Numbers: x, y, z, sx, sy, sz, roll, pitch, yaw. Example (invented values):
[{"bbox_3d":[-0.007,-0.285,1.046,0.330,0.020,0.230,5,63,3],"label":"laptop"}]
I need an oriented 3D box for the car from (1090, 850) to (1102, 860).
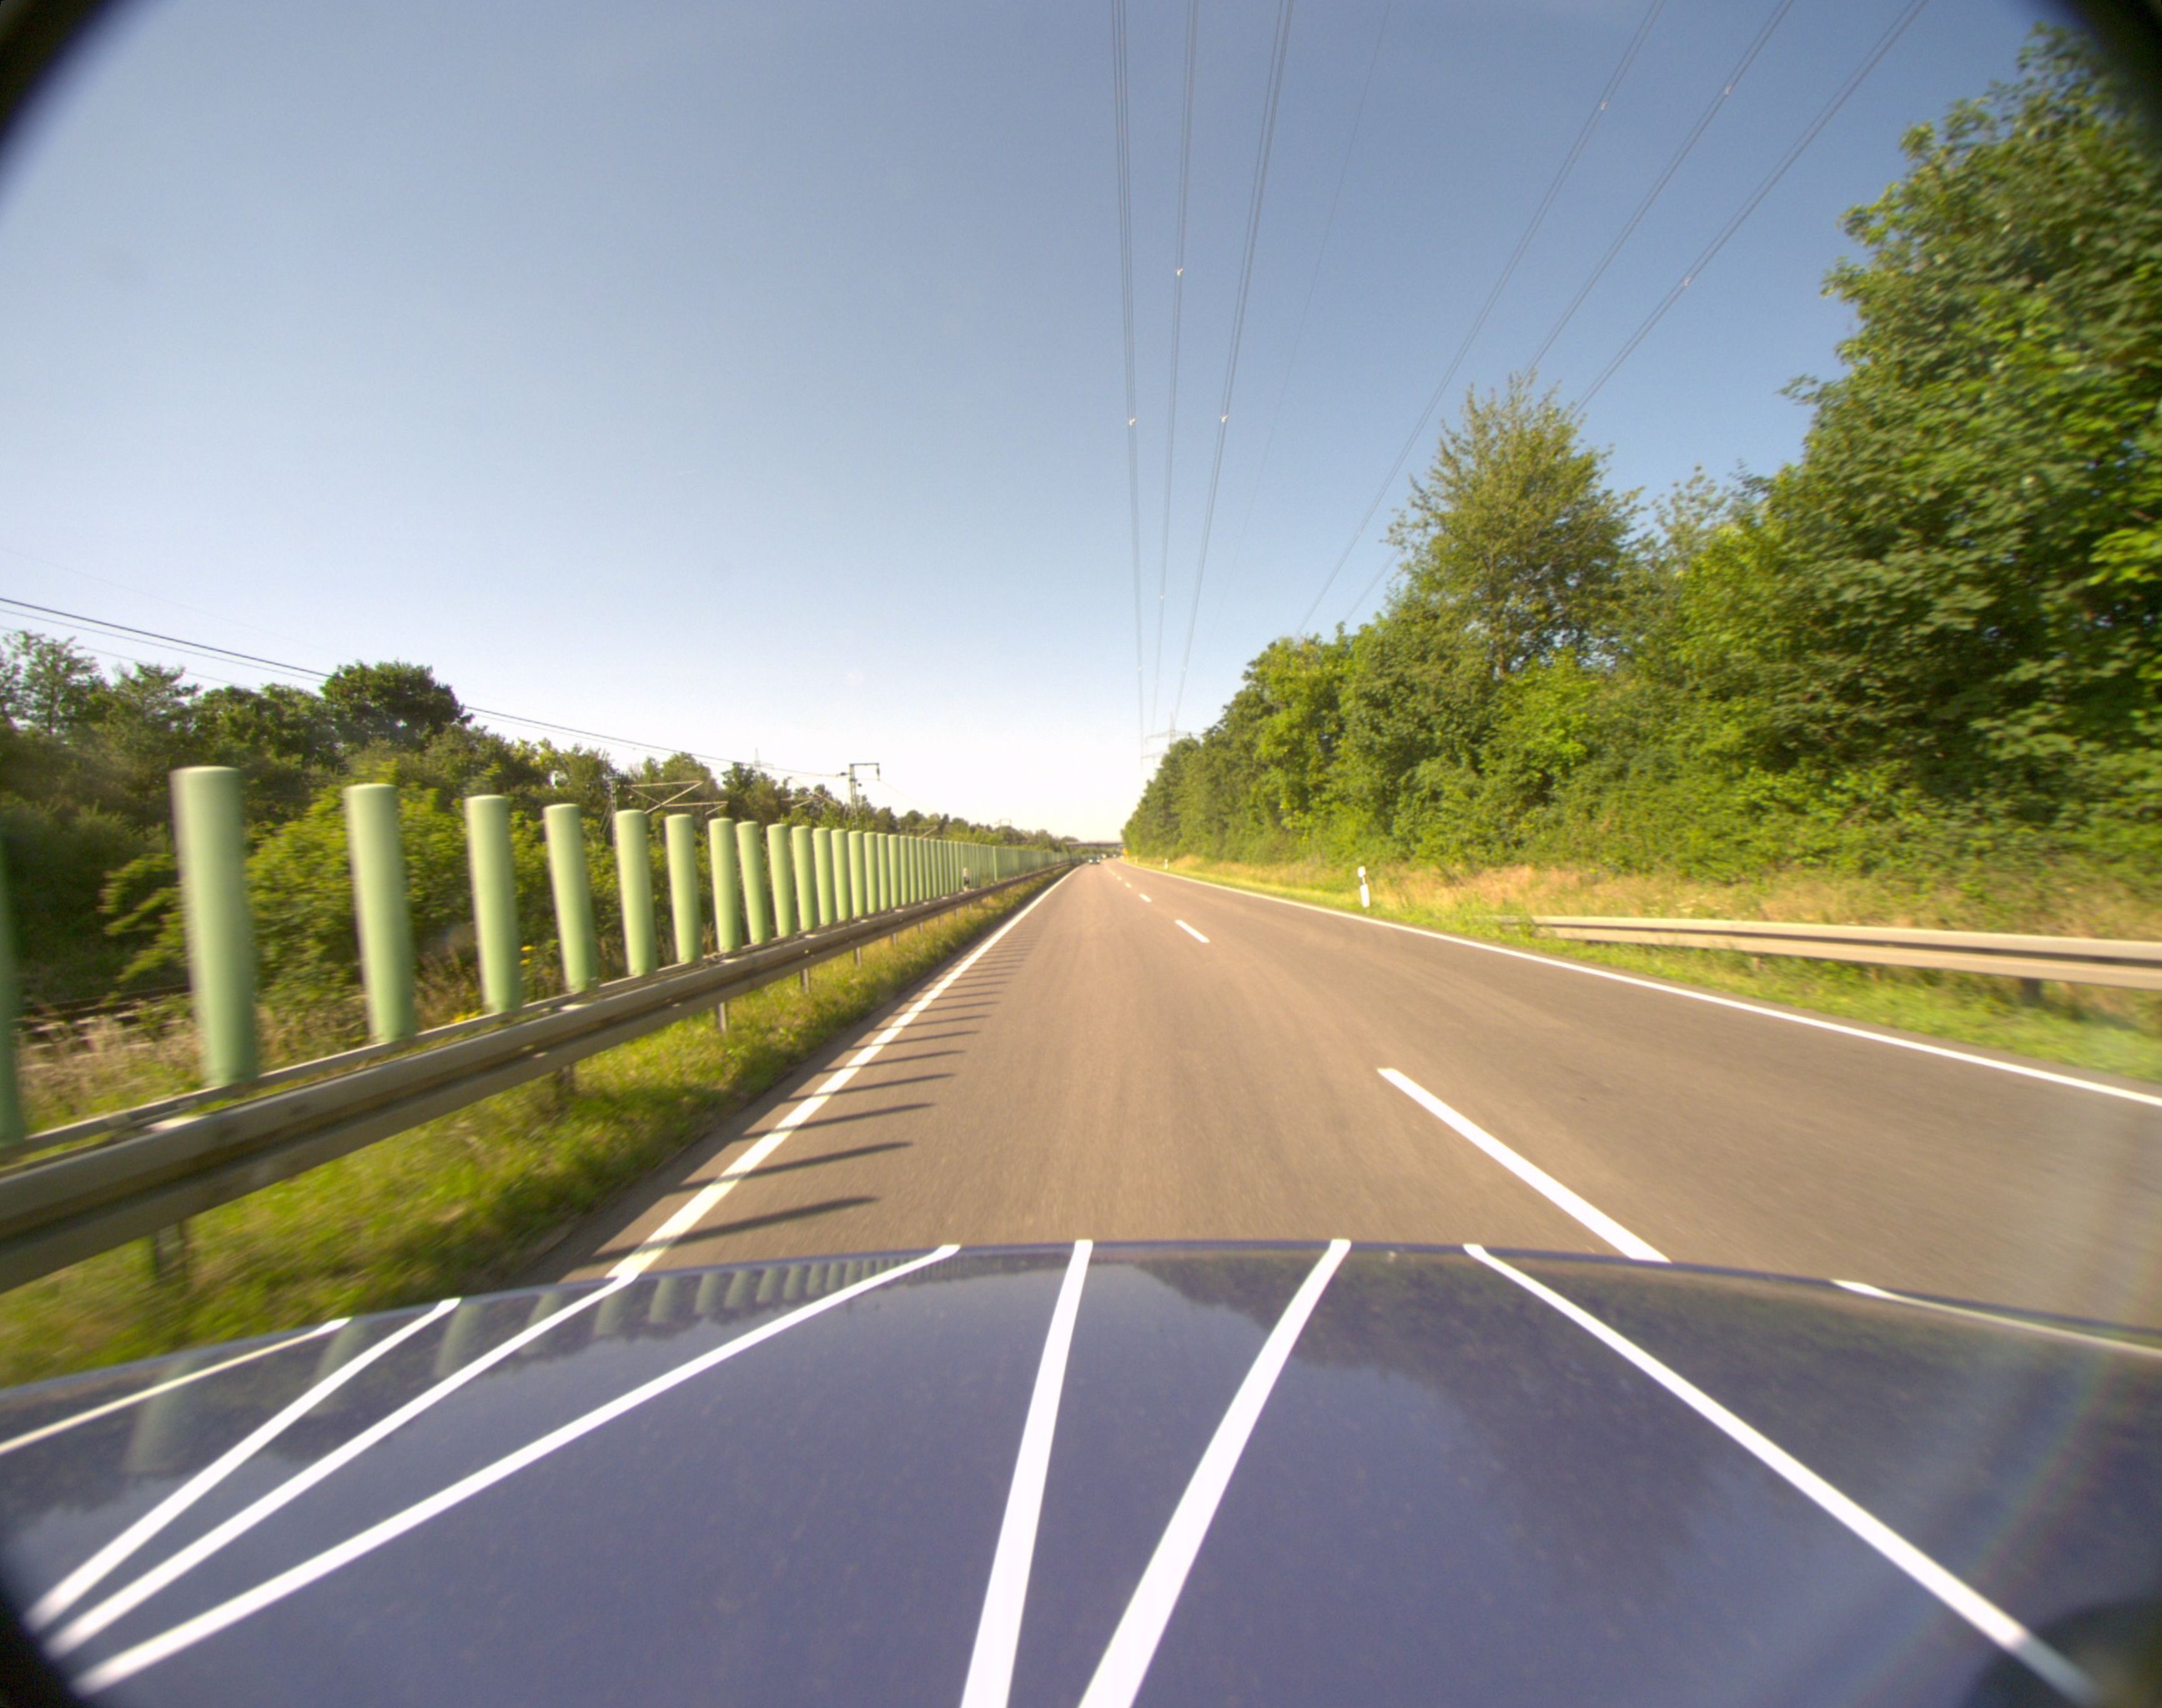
[{"bbox_3d":[2.513,0.199,127.800,1.787,1.550,4.000,-1,0,0],"label":"car"}]
